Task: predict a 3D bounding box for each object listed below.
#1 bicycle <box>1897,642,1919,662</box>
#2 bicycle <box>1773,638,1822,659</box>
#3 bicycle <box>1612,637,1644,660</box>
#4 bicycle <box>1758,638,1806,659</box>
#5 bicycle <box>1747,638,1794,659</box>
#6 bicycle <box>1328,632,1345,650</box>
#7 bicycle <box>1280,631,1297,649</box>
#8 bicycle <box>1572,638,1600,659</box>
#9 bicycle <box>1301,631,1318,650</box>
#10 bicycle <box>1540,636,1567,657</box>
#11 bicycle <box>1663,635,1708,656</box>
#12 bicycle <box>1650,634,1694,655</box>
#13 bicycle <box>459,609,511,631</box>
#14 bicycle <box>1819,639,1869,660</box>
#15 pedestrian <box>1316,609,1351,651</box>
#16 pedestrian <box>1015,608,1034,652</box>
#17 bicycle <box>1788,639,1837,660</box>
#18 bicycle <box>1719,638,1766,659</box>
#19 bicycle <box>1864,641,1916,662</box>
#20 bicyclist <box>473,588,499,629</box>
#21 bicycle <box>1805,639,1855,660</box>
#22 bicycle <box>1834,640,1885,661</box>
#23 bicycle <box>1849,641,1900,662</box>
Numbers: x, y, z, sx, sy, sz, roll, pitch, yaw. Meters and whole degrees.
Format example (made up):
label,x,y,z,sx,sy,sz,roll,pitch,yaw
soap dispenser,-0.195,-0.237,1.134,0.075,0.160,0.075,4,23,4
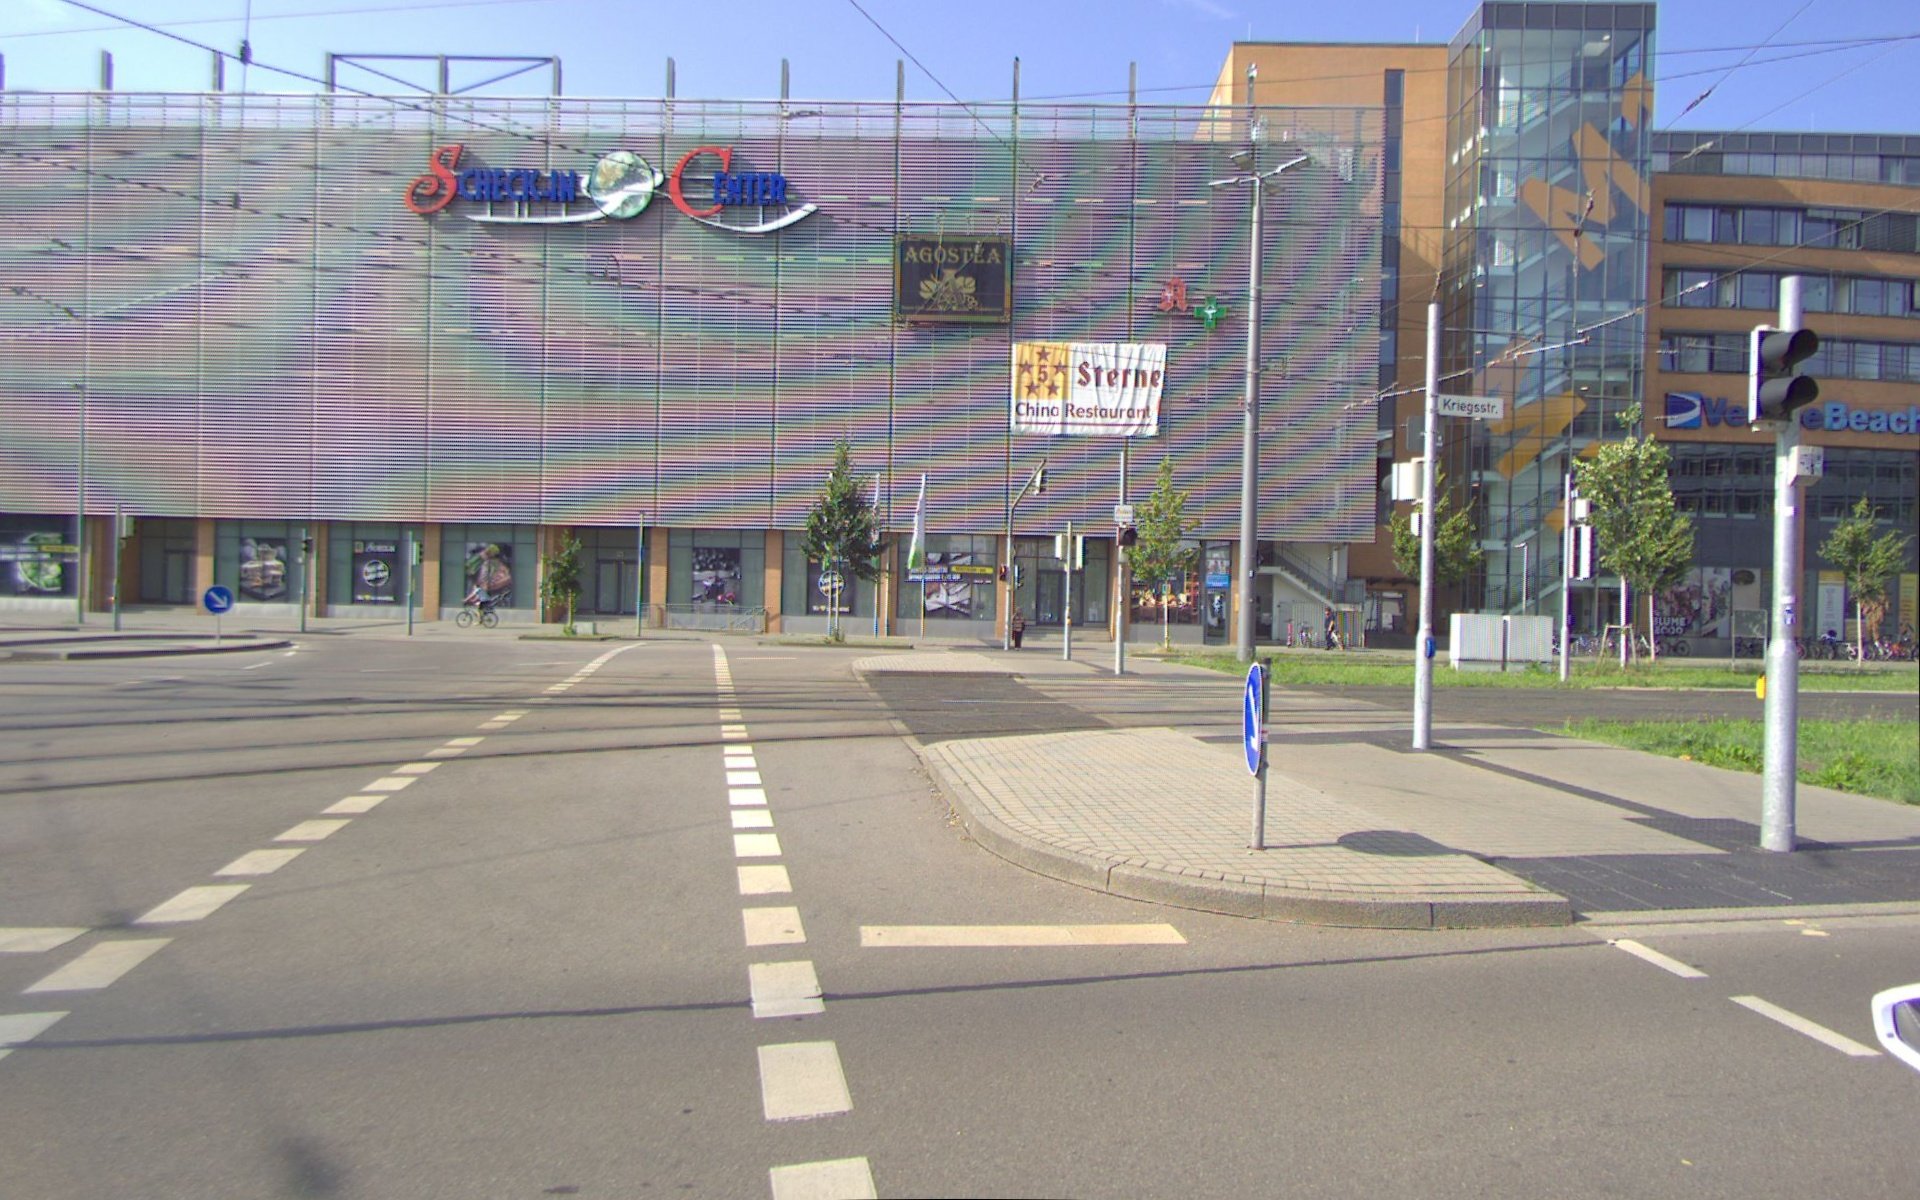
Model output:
label,x,y,z,sx,sy,sz,roll,pitch,yaw
bicycle,47.798,2.615,49.871,0.562,0.934,2.054,1,0,-4
bicycle,41.021,2.372,49.237,0.562,0.934,2.054,1,0,-4
bicycle,30.120,2.183,45.284,0.403,0.953,1.584,1,0,2
bicycle,40.174,2.360,49.106,0.562,0.934,2.054,1,0,-4
bicycle,39.545,2.350,49.034,0.562,0.934,2.054,1,0,-4
bicycle,16.375,1.769,43.685,0.354,0.762,1.024,1,0,2
bicycle,14.334,1.730,43.809,0.443,0.762,1.006,1,0,2
bicycle,28.051,2.159,45.004,0.252,0.841,1.467,3,1,-2
bicycle,15.208,1.766,43.726,0.443,0.762,1.006,1,0,2
bicycle,26.541,2.078,44.966,0.252,0.898,1.468,3,-1,-2
bicycle,35.188,2.188,48.734,0.562,0.934,2.054,1,0,-4
bicycle,34.470,2.150,48.648,0.562,0.934,2.054,1,0,-4
bicycle,-19.480,0.812,41.220,1.832,0.790,0.582,3,-1,1
bicycle,43.576,2.438,49.536,0.562,0.934,2.054,1,0,-4
pedestrian,15.910,1.251,42.791,1.153,1.742,0.820,1,0,1
pedestrian,2.378,1.108,37.094,0.578,1.600,0.763,1,0,-3
bicycle,41.843,2.411,49.311,0.562,0.934,2.054,1,0,-4
bicycle,38.065,2.333,48.869,0.562,0.934,2.054,1,0,-4
bicycle,46.154,2.539,49.892,0.562,0.934,2.054,1,0,-4
bicyclist,-19.458,0.342,41.214,0.700,1.651,0.569,3,-1,-1
bicycle,42.741,2.432,49.387,0.562,0.934,2.054,1,0,-4
bicycle,44.414,2.474,49.622,0.562,0.934,2.054,1,0,-4
bicycle,45.277,2.544,49.766,0.562,0.934,2.054,1,0,-4
